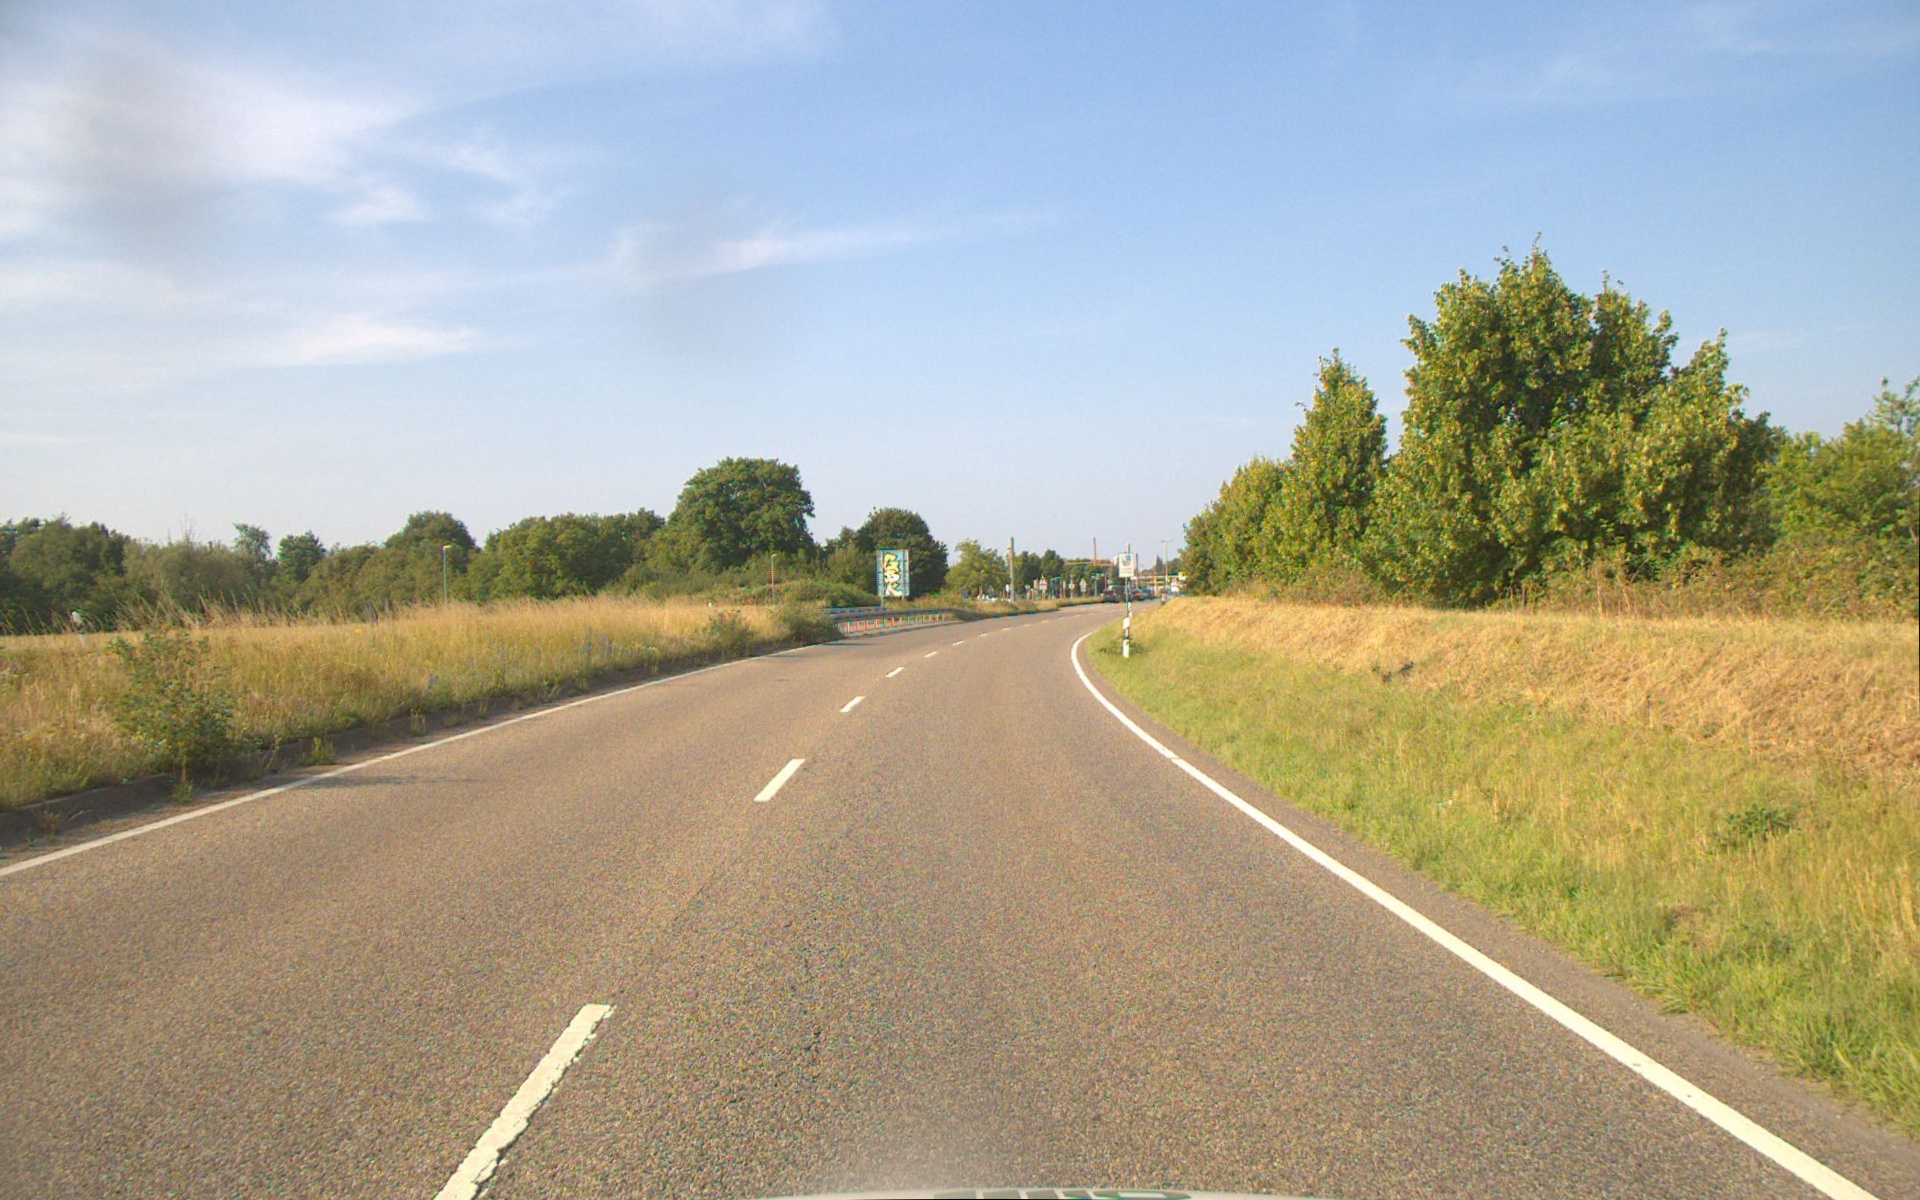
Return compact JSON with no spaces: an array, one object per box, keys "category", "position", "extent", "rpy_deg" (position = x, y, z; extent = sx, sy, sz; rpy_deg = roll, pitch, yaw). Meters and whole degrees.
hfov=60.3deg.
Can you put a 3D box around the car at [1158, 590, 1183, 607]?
[{"category":"car","position":[20.192,-0.178,158.556],"extent":[1.951,1.579,4.004],"rpy_deg":[-1,0,12]}]

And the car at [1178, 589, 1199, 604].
[{"category":"car","position":[25.219,-0.409,182.275],"extent":[1.951,1.579,4.004],"rpy_deg":[-1,0,12]}]

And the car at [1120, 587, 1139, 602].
[{"category":"car","position":[19.812,-0.606,192.986],"extent":[1.732,1.708,4.524],"rpy_deg":[-1,0,12]}]

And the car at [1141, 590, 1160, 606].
[{"category":"car","position":[25.356,-0.246,219.964],"extent":[1.951,2.049,4.840],"rpy_deg":[-1,-2,13]}]

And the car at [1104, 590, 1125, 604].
[{"category":"car","position":[16.727,-0.353,178.548],"extent":[1.695,1.481,4.524],"rpy_deg":[-1,0,12]}]

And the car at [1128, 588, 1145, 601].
[{"category":"car","position":[21.617,-0.709,202.480],"extent":[1.732,1.497,4.019],"rpy_deg":[-1,0,12]}]

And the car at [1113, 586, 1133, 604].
[{"category":"car","position":[18.248,-0.593,185.442],"extent":[1.695,1.888,4.524],"rpy_deg":[-1,0,12]}]
